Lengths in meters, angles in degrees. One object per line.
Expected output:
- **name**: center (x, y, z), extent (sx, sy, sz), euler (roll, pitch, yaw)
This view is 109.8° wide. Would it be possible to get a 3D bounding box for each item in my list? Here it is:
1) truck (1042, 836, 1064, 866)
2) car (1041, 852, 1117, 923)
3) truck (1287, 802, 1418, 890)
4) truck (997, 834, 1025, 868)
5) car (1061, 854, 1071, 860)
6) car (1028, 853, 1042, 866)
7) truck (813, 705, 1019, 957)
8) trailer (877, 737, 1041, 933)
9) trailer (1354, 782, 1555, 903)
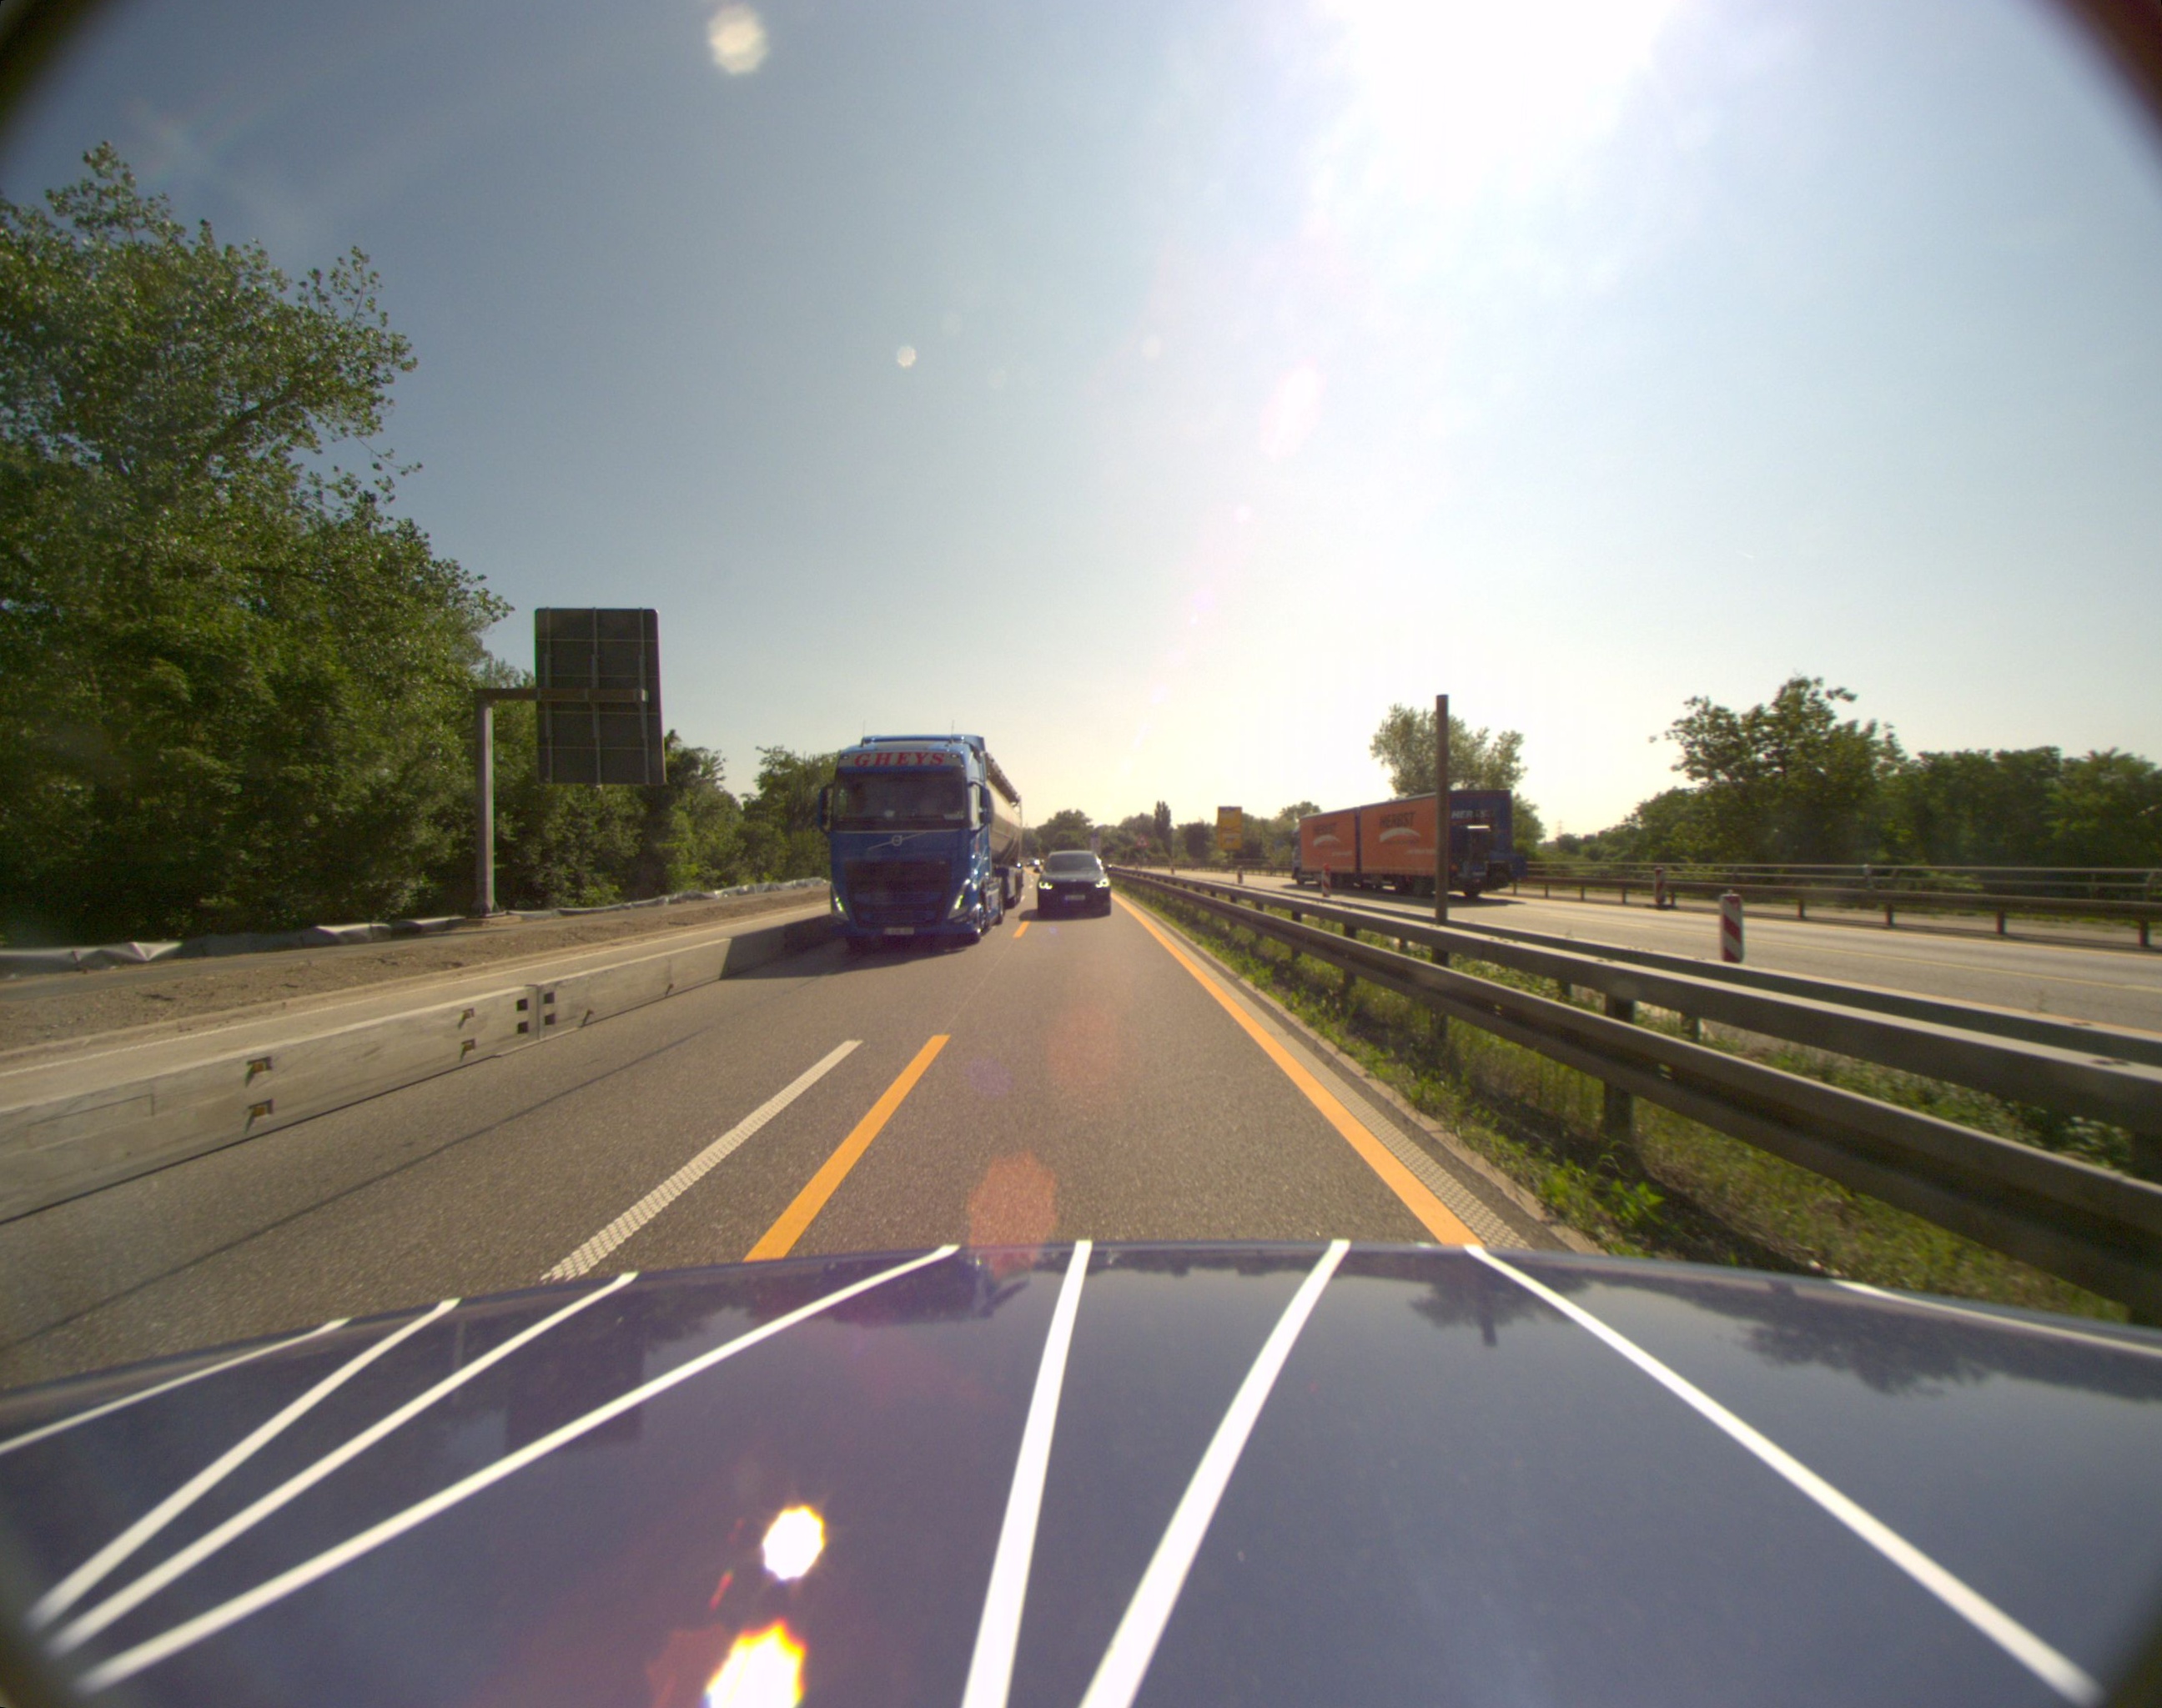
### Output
- **truck**: center (-3.914, -0.425, 105.115), extent (2.861, 3.961, 8.663), euler (1, 0, -2)
- **car**: center (-0.111, 0.801, 20.624), extent (1.789, 1.651, 4.485), euler (-2, 0, -2)
- **truck**: center (14.321, -0.357, 41.321), extent (3.046, 4.067, 10.622), euler (-2, 0, -1)
- **truck**: center (-8.592, -0.302, 94.271), extent (2.861, 3.961, 8.663), euler (1, 0, -2)
- **car**: center (-3.606, 0.825, 184.988), extent (1.725, 1.389, 4.515), euler (-1, 0, -10)
- **car**: center (-7.396, 0.870, 122.117), extent (1.999, 2.002, 3.999), euler (1, 0, -2)
- **truck**: center (-2.994, -0.364, 16.071), extent (2.701, 4.078, 7.300), euler (1, 0, 0)
- **trailer**: center (-2.936, -0.384, 22.462), extent (2.701, 4.113, 12.614), euler (1, 0, 0)
- **trailer**: center (14.608, -0.383, 31.033), extent (3.046, 4.067, 9.786), euler (-2, 0, -2)
